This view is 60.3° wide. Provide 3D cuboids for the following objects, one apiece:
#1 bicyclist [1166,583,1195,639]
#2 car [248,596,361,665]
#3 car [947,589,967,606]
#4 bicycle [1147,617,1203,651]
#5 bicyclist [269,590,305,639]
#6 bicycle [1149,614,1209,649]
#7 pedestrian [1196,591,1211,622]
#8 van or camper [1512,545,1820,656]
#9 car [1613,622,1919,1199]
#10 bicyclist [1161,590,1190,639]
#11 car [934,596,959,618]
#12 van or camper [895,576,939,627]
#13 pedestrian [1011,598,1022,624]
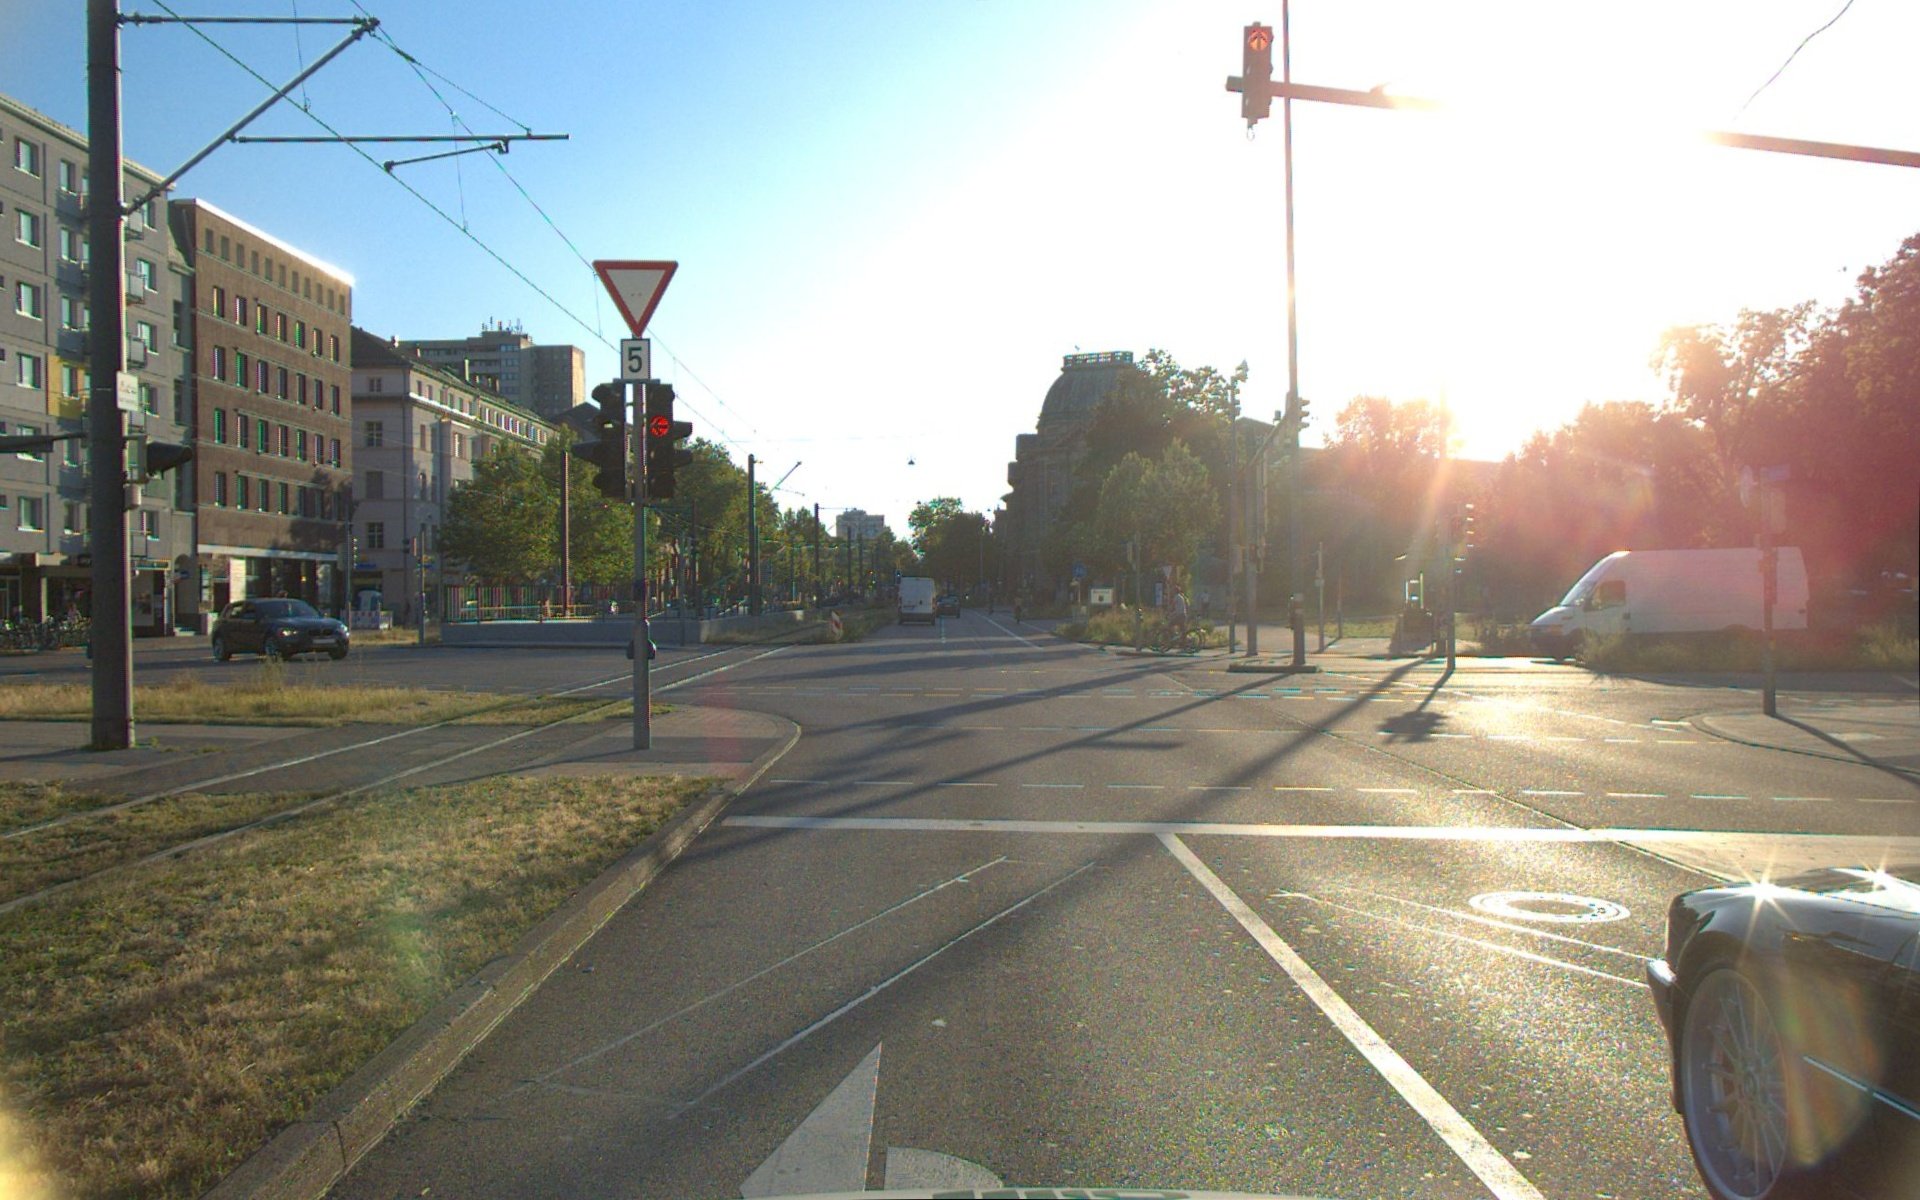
[{"bbox_3d":[6.436,0.319,48.396,0.781,1.598,0.663,-1,1,4],"label":"bicyclist"},{"bbox_3d":[-15.508,0.674,39.026,1.698,1.459,3.953,0,1,-34],"label":"car"},{"bbox_3d":[-0.334,-0.265,168.985,1.759,1.593,3.997,-1,1,-4],"label":"car"},{"bbox_3d":[6.541,1.024,50.317,1.682,0.987,0.610,0,1,6],"label":"bicycle"},{"bbox_3d":[-20.627,0.441,50.700,0.839,1.467,0.661,2,1,35],"label":"bicyclist"},{"bbox_3d":[6.398,0.917,48.407,1.692,0.987,0.610,0,1,4],"label":"bicycle"},{"bbox_3d":[13.014,0.343,88.442,0.668,1.639,0.612,-1,1,0],"label":"pedestrian"},{"bbox_3d":[18.269,-0.016,43.095,6.897,2.721,2.599,-1,1,2],"label":"van or camper"},{"bbox_3d":[2.793,0.795,2.403,1.793,1.377,4.641,0,1,-1],"label":"car"},{"bbox_3d":[6.559,0.445,50.303,0.835,1.467,0.664,-1,1,5],"label":"bicyclist"},{"bbox_3d":[-0.904,0.464,116.476,1.701,1.410,4.000,-1,1,0],"label":"car"},{"bbox_3d":[-2.294,0.045,90.139,2.216,2.670,4.503,-1,1,0],"label":"van or camper"},{"bbox_3d":[3.332,0.639,96.844,0.603,1.501,0.800,-1,1,4],"label":"pedestrian"}]
